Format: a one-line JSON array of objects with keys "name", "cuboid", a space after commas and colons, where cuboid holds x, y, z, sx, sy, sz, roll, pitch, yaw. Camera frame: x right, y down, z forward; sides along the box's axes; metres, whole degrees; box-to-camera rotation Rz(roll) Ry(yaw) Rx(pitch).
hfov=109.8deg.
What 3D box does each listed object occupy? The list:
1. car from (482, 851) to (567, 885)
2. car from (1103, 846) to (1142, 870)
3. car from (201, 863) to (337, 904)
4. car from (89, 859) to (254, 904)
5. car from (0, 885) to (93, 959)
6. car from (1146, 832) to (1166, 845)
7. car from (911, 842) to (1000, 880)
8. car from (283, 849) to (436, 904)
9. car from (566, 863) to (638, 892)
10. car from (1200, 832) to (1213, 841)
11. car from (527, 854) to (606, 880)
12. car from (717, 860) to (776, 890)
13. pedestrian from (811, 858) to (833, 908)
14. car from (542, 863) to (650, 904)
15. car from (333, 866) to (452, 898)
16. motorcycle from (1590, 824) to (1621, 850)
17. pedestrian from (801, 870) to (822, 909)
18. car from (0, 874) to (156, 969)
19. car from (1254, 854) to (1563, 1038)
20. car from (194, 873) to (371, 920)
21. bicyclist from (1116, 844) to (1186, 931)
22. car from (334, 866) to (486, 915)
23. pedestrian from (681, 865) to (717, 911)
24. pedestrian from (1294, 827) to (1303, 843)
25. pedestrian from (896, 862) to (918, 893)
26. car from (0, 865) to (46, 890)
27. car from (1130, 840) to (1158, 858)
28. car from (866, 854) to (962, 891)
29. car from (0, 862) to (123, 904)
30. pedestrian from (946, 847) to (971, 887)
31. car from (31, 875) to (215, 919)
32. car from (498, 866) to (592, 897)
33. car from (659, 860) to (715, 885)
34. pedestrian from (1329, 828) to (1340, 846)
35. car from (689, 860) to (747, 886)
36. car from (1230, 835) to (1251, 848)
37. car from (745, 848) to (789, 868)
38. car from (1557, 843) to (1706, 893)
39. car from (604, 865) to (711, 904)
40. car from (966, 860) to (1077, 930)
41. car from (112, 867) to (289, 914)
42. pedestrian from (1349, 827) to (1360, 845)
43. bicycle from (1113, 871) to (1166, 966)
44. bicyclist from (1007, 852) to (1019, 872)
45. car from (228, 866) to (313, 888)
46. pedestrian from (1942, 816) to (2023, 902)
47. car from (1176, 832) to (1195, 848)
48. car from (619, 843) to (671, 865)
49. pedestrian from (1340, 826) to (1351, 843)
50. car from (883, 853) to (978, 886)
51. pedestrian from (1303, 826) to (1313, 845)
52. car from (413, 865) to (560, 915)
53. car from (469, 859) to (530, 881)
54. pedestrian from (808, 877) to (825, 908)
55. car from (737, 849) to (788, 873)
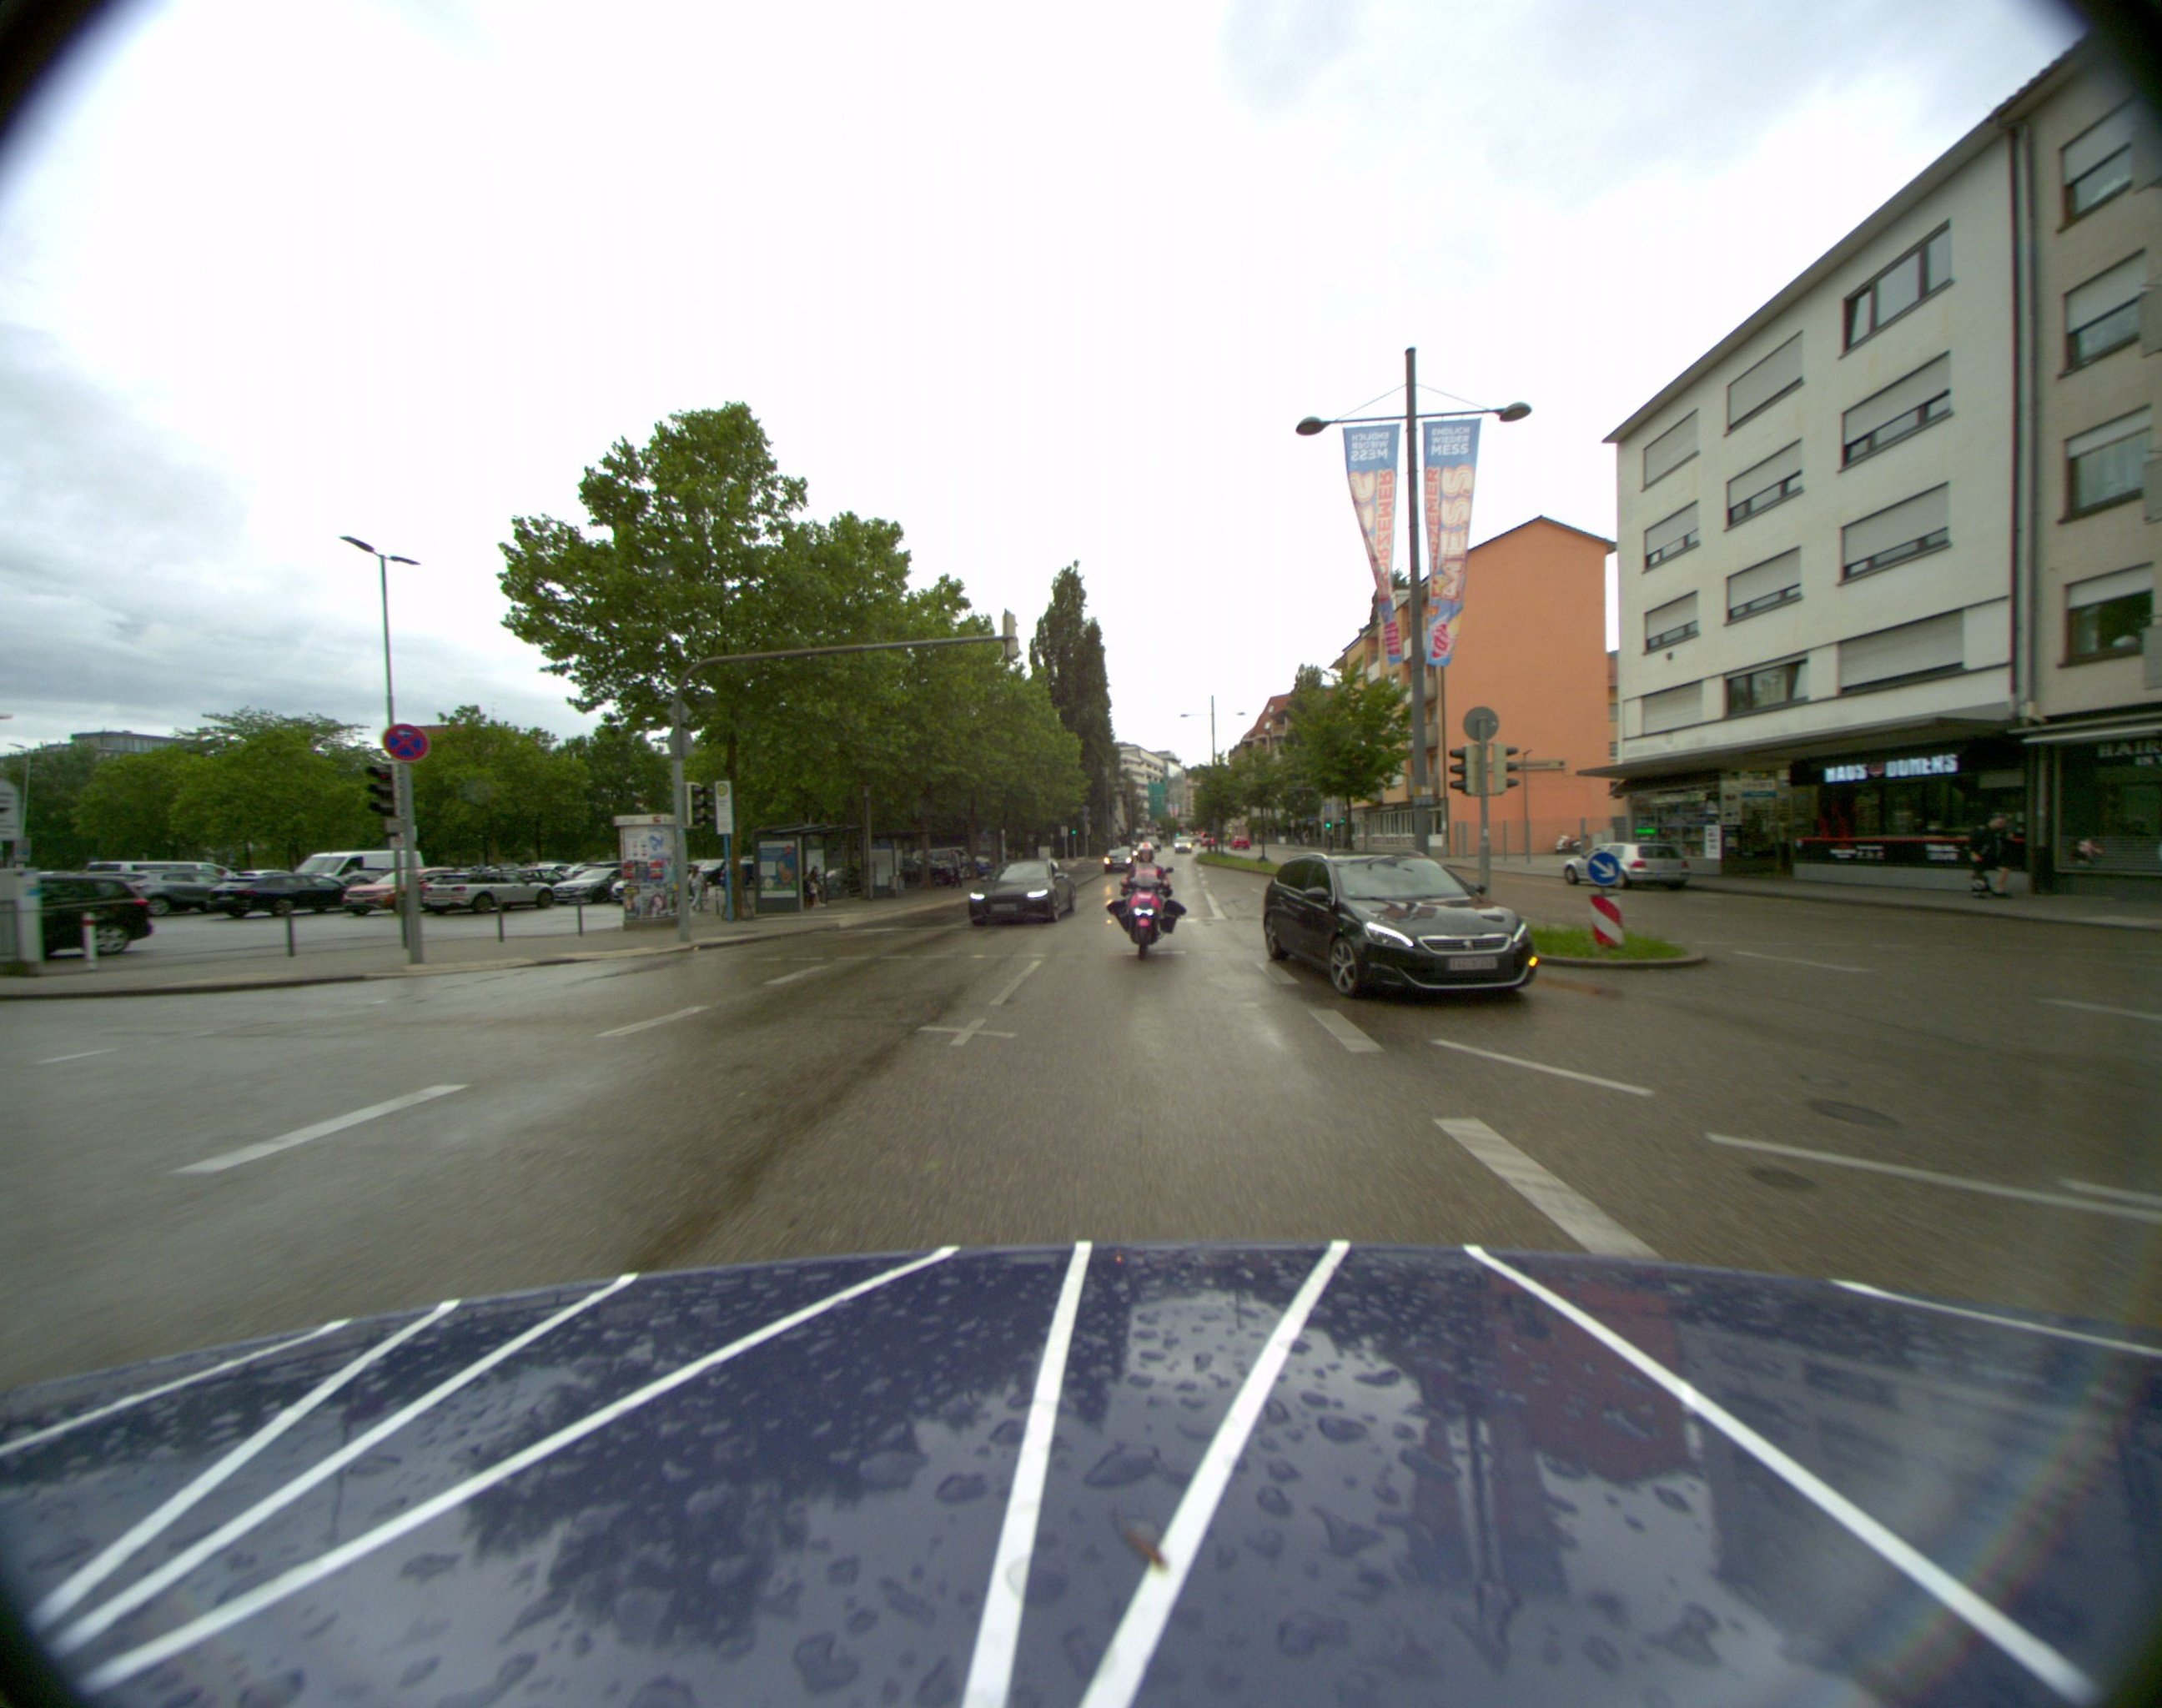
[{"name": "car", "cuboid": [-36.999, 0.890, 50.682, 1.971, 2.142, 4.884, 0, 0, 2]}, {"name": "car", "cuboid": [2.552, 0.205, 45.597, 1.895, 1.391, 4.363, 0, 1, 9]}, {"name": "car", "cuboid": [-36.424, 1.278, 34.240, 1.807, 1.658, 3.902, 0, 0, 3]}, {"name": "car", "cuboid": [-39.599, 1.133, 33.258, 1.832, 1.819, 4.365, 0, 0, 3]}, {"name": "car", "cuboid": [-22.821, 1.440, 14.630, 1.855, 1.432, 4.263, -1, 1, 5]}, {"name": "car", "cuboid": [8.587, -1.771, 86.714, 1.895, 1.480, 4.363, 0, 1, 9]}, {"name": "car", "cuboid": [-7.681, 0.428, 46.757, 4.844, 1.932, 1.951, -4, 2, 9]}, {"name": "car", "cuboid": [-32.259, 0.932, 34.231, 1.971, 2.306, 5.013, 0, 0, 2]}, {"name": "car", "cuboid": [-26.674, 1.303, 42.437, 1.531, 1.495, 3.634, 0, 0, 5]}, {"name": "car", "cuboid": [19.309, -2.716, 116.849, 1.570, 1.385, 3.834, 0, 2, 4]}, {"name": "car", "cuboid": [-34.049, 0.836, 50.424, 1.971, 1.660, 4.631, 0, 0, 2]}, {"name": "car", "cuboid": [-18.935, 1.148, 43.141, 1.639, 1.414, 3.355, -2, 2, 3]}, {"name": "pedestrian", "cuboid": [-8.985, 0.986, 26.324, 0.542, 1.685, 0.553, -2, 1, -34]}, {"name": "car", "cuboid": [-20.350, 1.204, 32.082, 1.761, 1.581, 4.001, 0, 0, 5]}, {"name": "car", "cuboid": [-29.008, 1.144, 32.177, 1.531, 1.229, 3.634, 0, 0, 5]}, {"name": "motorcycle", "cuboid": [30.639, -0.999, 44.380, 1.466, 1.454, 0.397, 1, 3, 5]}, {"name": "pedestrian", "cuboid": [-9.013, 1.192, 25.379, 0.499, 1.264, 0.402, -1, 1, 8]}, {"name": "car", "cuboid": [-20.192, 1.265, 13.624, 1.803, 1.603, 4.263, -1, 1, 5]}, {"name": "car", "cuboid": [3.381, 0.814, 8.875, 1.803, 1.426, 4.395, -3, 2, 2]}, {"name": "car", "cuboid": [-28.107, 1.432, 26.944, 1.760, 1.440, 4.003, 0, 0, 9]}, {"name": "bicyclist", "cuboid": [1.052, 0.500, 11.380, 0.962, 1.219, 0.715, -2, -2, 6]}, {"name": "car", "cuboid": [-24.068, 1.245, 27.480, 1.761, 1.581, 4.001, 0, 0, 5]}, {"name": "pedestrian", "cuboid": [-13.898, 1.211, 27.643, 0.766, 1.623, 0.861, -1, 1, 7]}, {"name": "pedestrian", "cuboid": [23.298, -2.083, 81.427, 0.766, 1.686, 0.800, -1, 2, 2]}, {"name": "pedestrian", "cuboid": [-7.746, 1.035, 33.762, 0.632, 1.315, 0.626, -2, 3, 20]}, {"name": "car", "cuboid": [-71.562, 1.634, 49.854, 1.639, 1.538, 3.929, -3, 2, 3]}, {"name": "car", "cuboid": [5.255, -0.434, 63.635, 1.897, 1.413, 4.359, 0, 1, -1]}, {"name": "car", "cuboid": [-8.539, 0.926, 39.106, 4.411, 1.476, 1.863, -4, 2, 3]}, {"name": "car", "cuboid": [-48.892, 1.300, 35.808, 1.832, 1.819, 4.365, 0, 0, 3]}, {"name": "pedestrian", "cuboid": [-5.768, 0.604, 35.748, 0.735, 1.831, 0.755, -5, 3, -43]}, {"name": "car", "cuboid": [-35.988, 1.562, 28.725, 1.659, 1.436, 4.003, 0, 0, 9]}, {"name": "car", "cuboid": [-23.199, 1.170, 33.048, 1.531, 1.229, 3.356, 0, 0, 5]}, {"name": "car", "cuboid": [-25.987, 1.166, 50.253, 1.531, 1.549, 3.634, 0, 0, 5]}, {"name": "pedestrian", "cuboid": [22.028, -1.465, 65.951, 0.561, 1.433, 0.608, -6, 1, -14]}, {"name": "car", "cuboid": [-23.248, 1.178, 48.736, 1.530, 1.583, 3.613, 0, 0, 9]}, {"name": "car", "cuboid": [17.464, -1.384, 83.135, 1.607, 1.422, 3.945, 1, 2, 3]}, {"name": "car", "cuboid": [-26.802, 0.335, 64.970, 1.780, 1.498, 3.882, -2, 2, 6]}, {"name": "car", "cuboid": [16.855, 0.354, 23.558, 1.680, 1.384, 4.152, 1, 1, 2]}, {"name": "car", "cuboid": [-17.580, 1.219, 31.795, 1.737, 1.432, 4.446, 0, 0, 4]}, {"name": "car", "cuboid": [-1.305, 0.915, 18.646, 1.895, 1.396, 4.362, -1, 1, 6]}, {"name": "car", "cuboid": [-32.958, 1.300, 28.616, 1.760, 1.557, 4.003, 0, 0, 9]}, {"name": "pedestrian", "cuboid": [26.334, -1.721, 73.111, 0.684, 1.639, 0.745, -3, 2, -32]}, {"name": "bicycle", "cuboid": [0.862, 0.913, 11.663, 0.717, 1.297, 2.428, 0, -1, 3]}, {"name": "bicyclist", "cuboid": [-6.239, 0.718, 69.837, 0.988, 1.760, 0.796, -2, 3, -11]}, {"name": "car", "cuboid": [-47.792, 1.339, 44.893, 1.532, 1.229, 3.354, 0, 0, -3]}, {"name": "pedestrian", "cuboid": [18.988, 0.109, 16.017, 0.779, 1.719, 0.660, -5, 1, 7]}, {"name": "car", "cuboid": [10.841, -1.473, 78.586, 1.895, 1.567, 4.363, 0, 1, 9]}, {"name": "car", "cuboid": [-36.211, -0.020, 63.266, 1.780, 1.679, 3.881, -3, 2, 5]}, {"name": "pedestrian", "cuboid": [25.867, -1.904, 74.228, 0.747, 1.681, 0.681, -2, 2, -27]}, {"name": "car", "cuboid": [-8.382, 0.840, 42.555, 4.747, 1.397, 1.863, -4, 2, 9]}, {"name": "pedestrian", "cuboid": [23.164, -1.915, 77.574, 0.746, 1.876, 0.800, -1, 2, 2]}, {"name": "car", "cuboid": [-21.100, 1.237, 27.210, 1.761, 1.581, 4.178, 0, 0, 5]}, {"name": "car", "cuboid": [-44.484, 1.199, 58.192, 1.639, 1.416, 3.598, -3, 2, 5]}, {"name": "pedestrian", "cuboid": [-8.985, 1.300, 25.781, 0.401, 1.029, 0.371, -1, 1, 8]}, {"name": "car", "cuboid": [-25.076, 0.529, 59.984, 1.780, 1.679, 4.445, -3, 2, 5]}]
